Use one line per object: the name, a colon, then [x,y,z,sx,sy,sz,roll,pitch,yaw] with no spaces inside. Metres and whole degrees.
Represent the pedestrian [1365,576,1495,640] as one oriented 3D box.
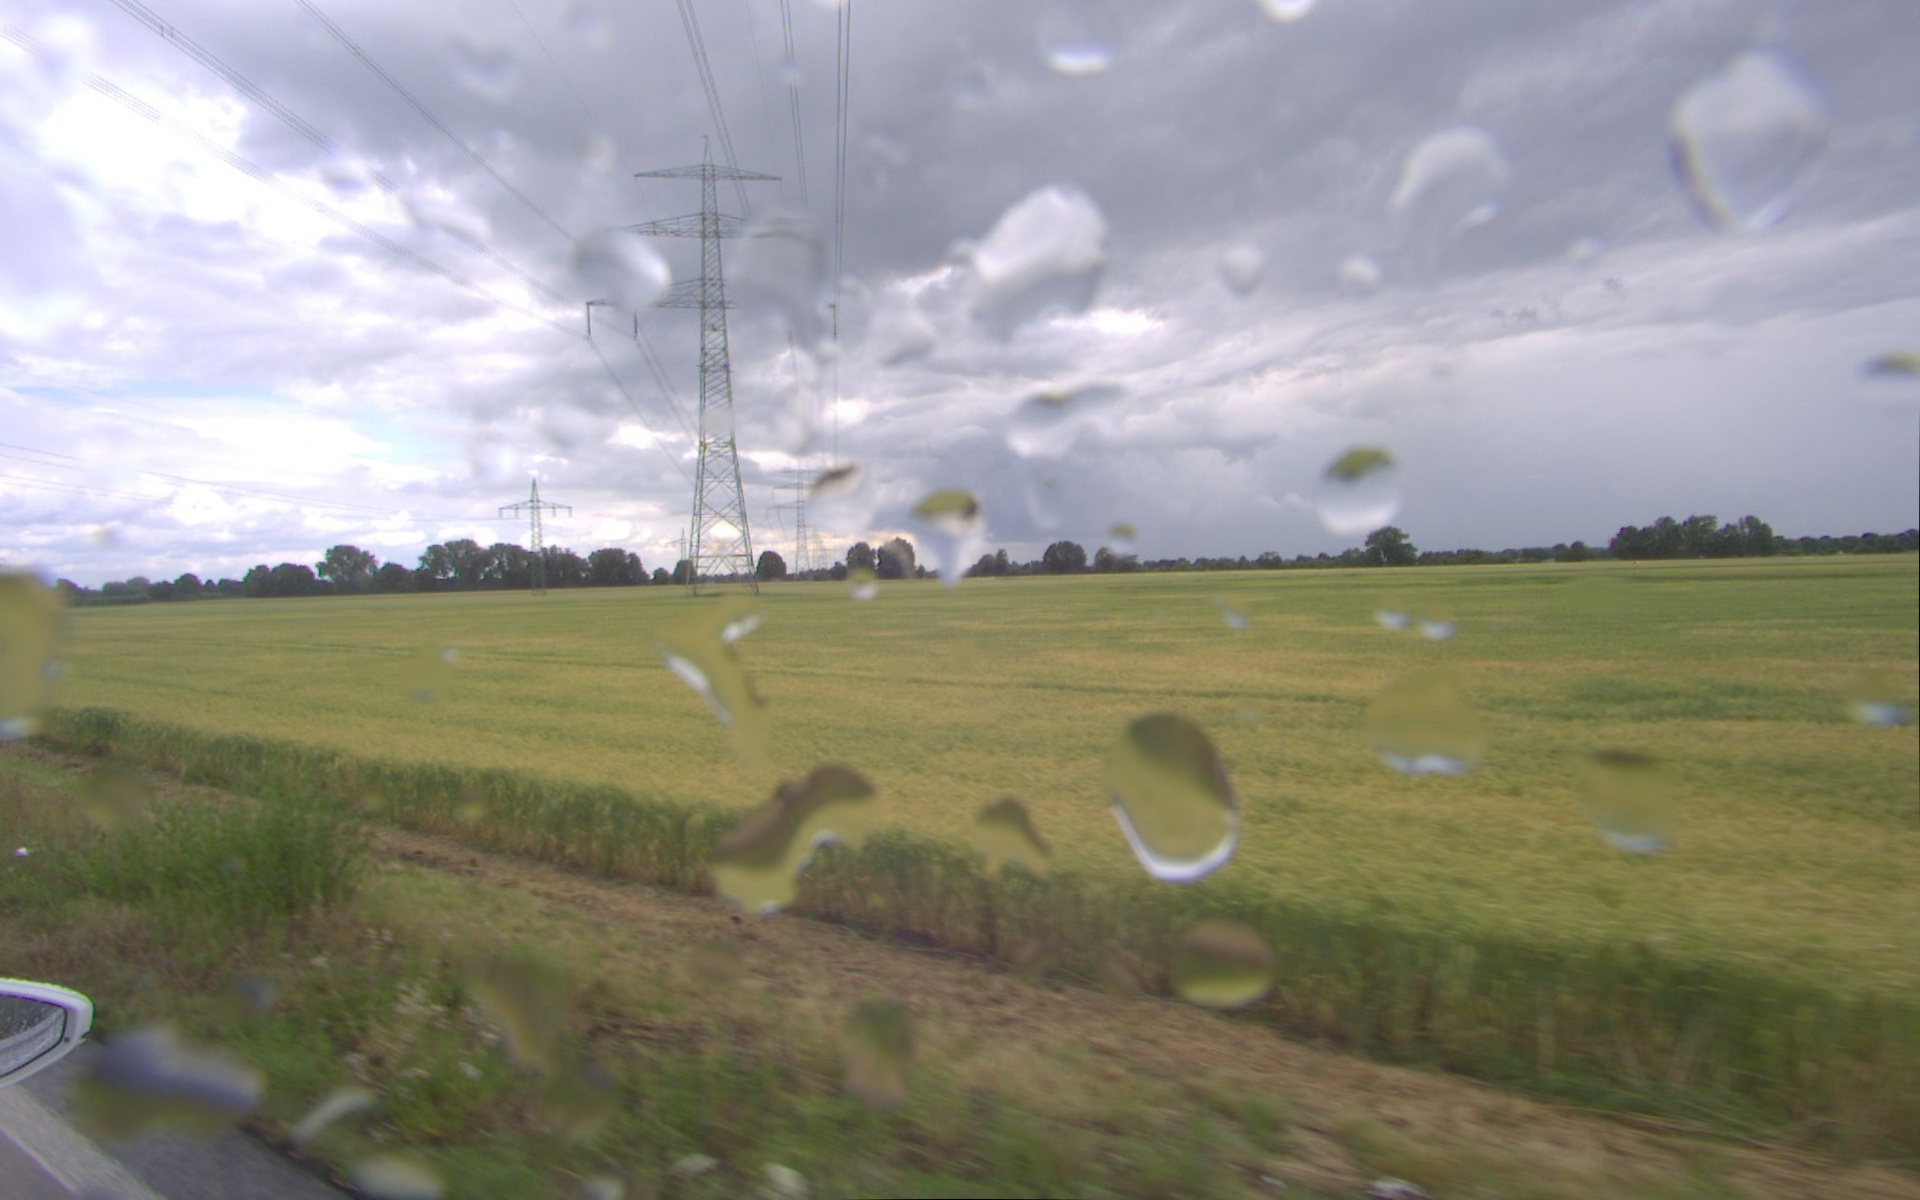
pedestrian: [16.213,0.323,34.760,3.933,2.039,1.995,-2,-2,22]
